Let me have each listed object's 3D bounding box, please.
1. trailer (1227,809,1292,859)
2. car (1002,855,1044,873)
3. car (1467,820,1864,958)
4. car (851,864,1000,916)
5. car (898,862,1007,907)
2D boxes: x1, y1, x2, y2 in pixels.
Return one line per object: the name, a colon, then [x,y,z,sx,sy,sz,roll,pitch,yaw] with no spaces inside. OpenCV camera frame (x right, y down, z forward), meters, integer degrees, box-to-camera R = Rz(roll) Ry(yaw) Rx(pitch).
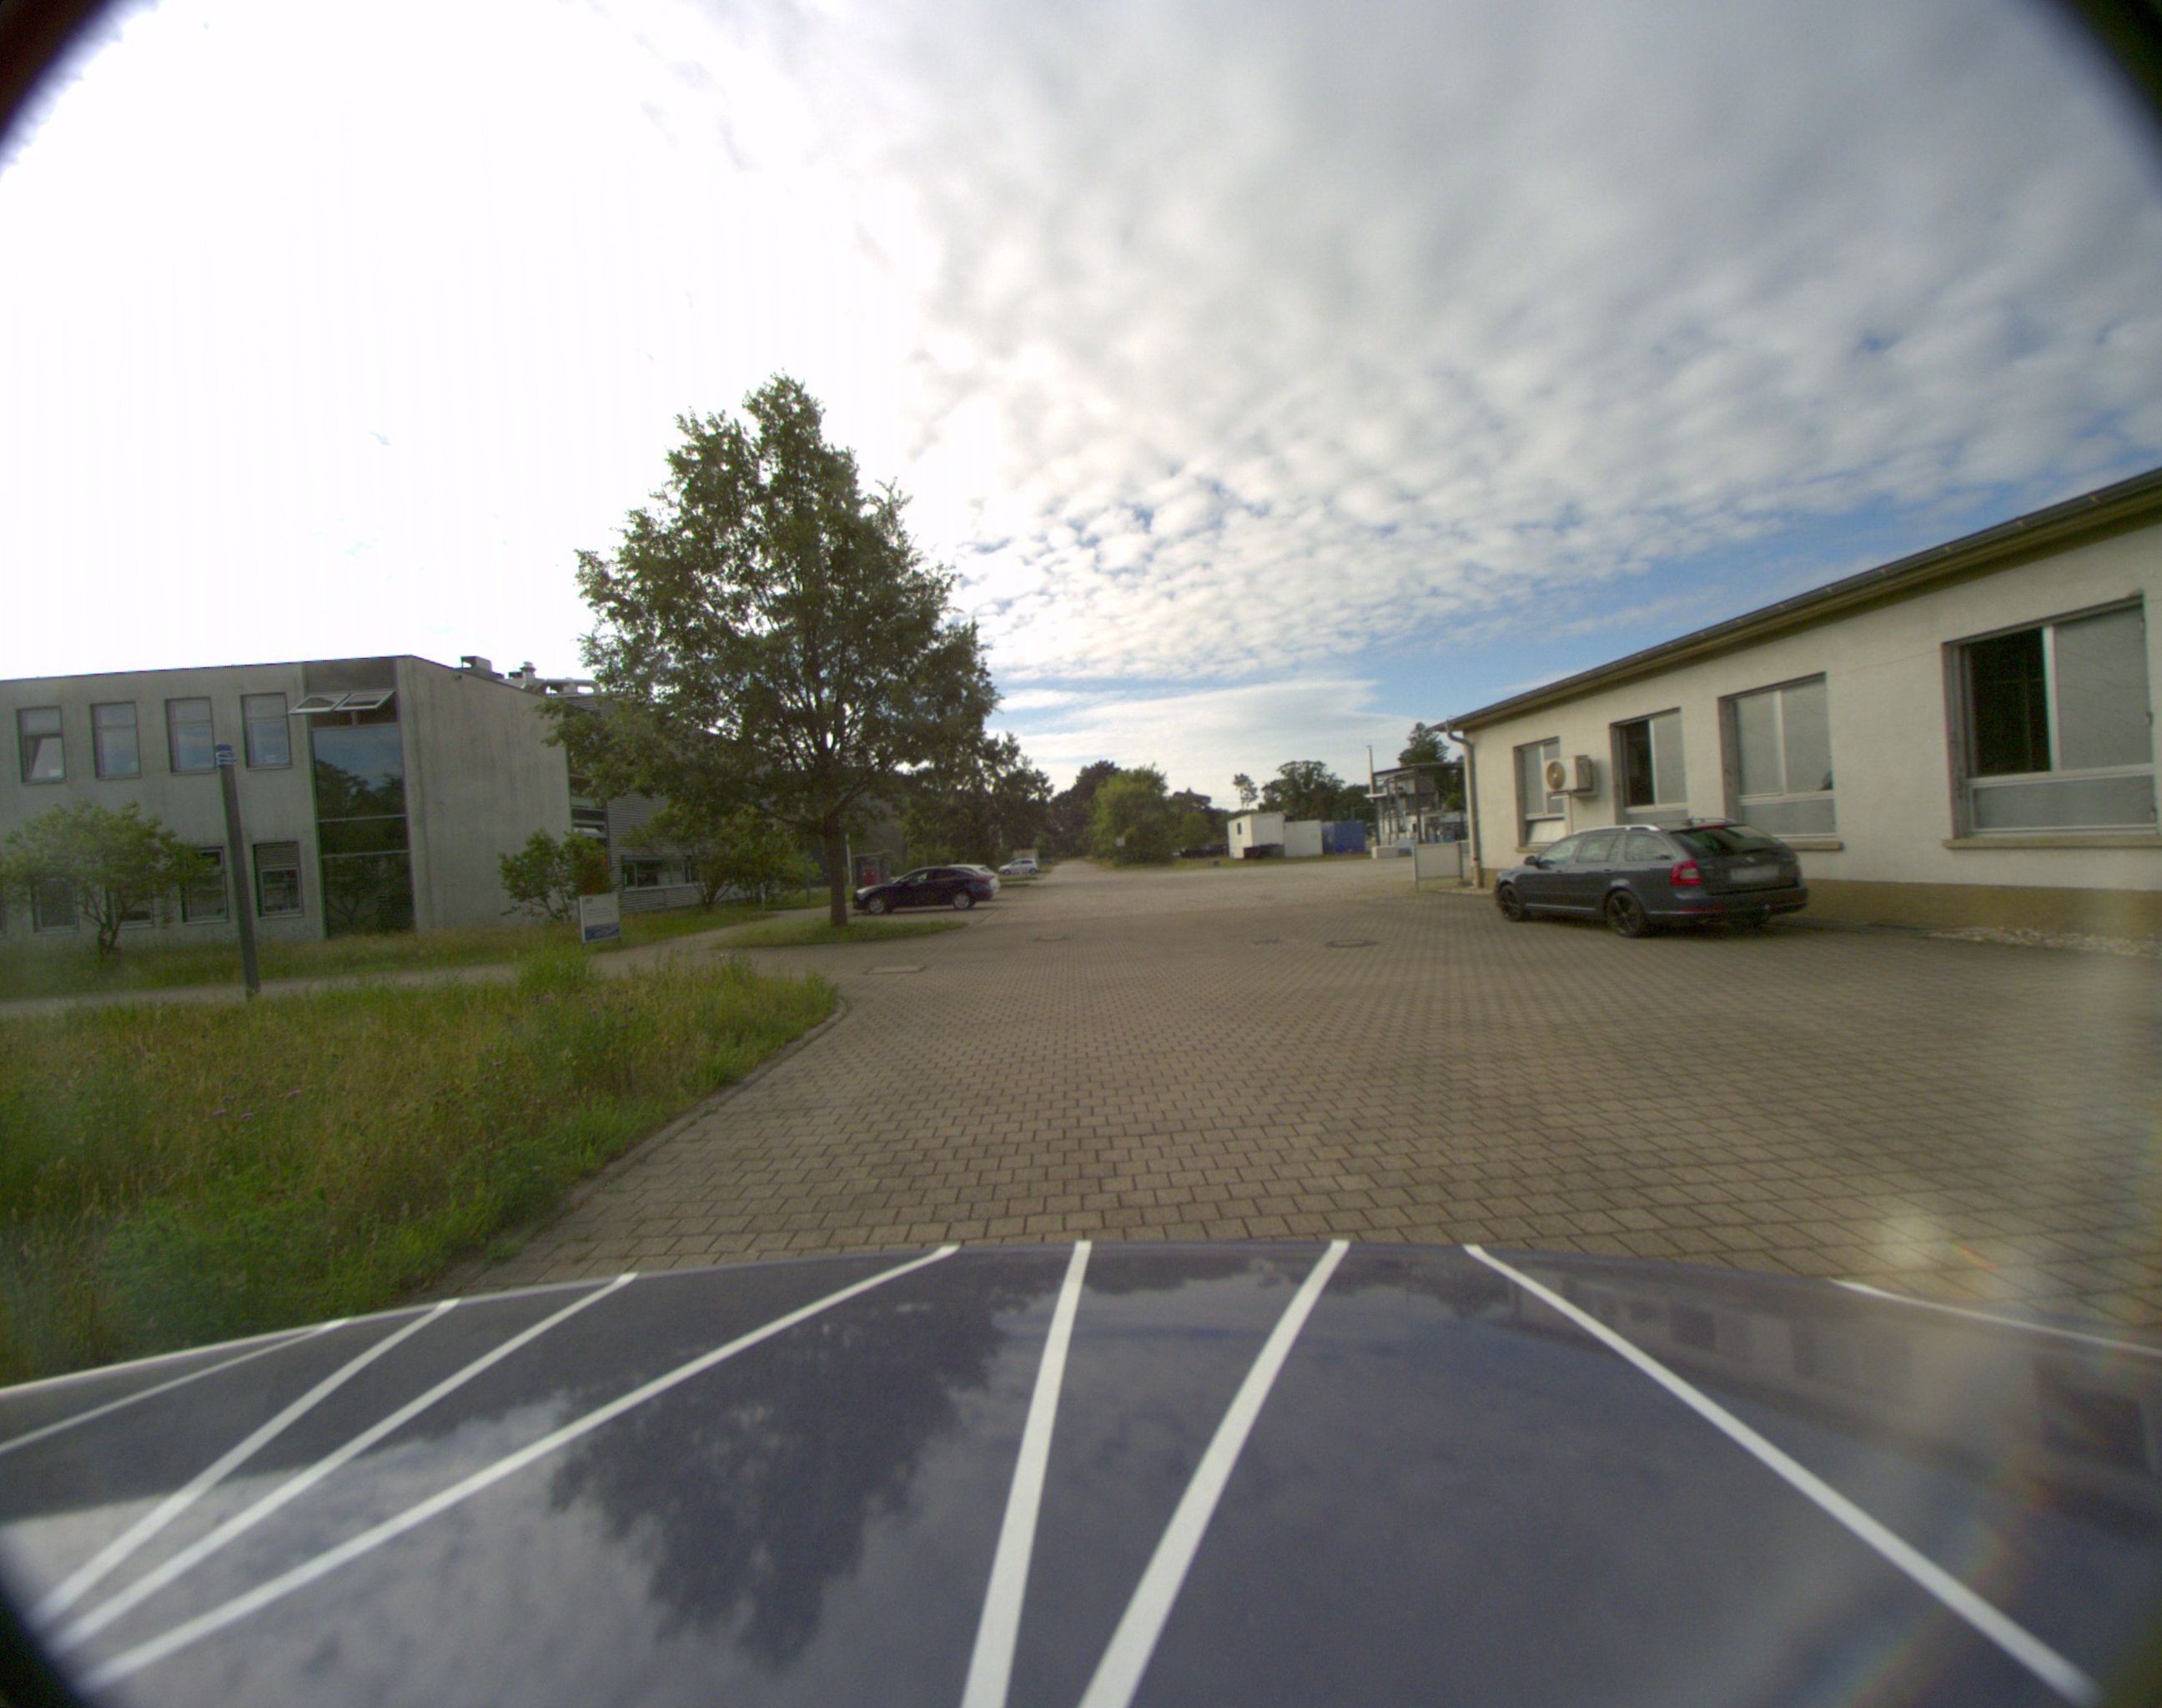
trailer: [14.595,-1.550,63.067,2.876,3.641,10.777,-4,0,1]
car: [-5.849,0.994,76.560,4.132,1.615,1.938,-2,1,-3]
car: [7.920,0.405,11.103,1.930,1.452,4.810,-4,0,-2]
car: [-5.049,1.163,25.136,4.475,1.438,1.944,-3,0,-1]
car: [-5.059,1.189,30.369,3.986,1.458,1.882,-3,0,-1]
